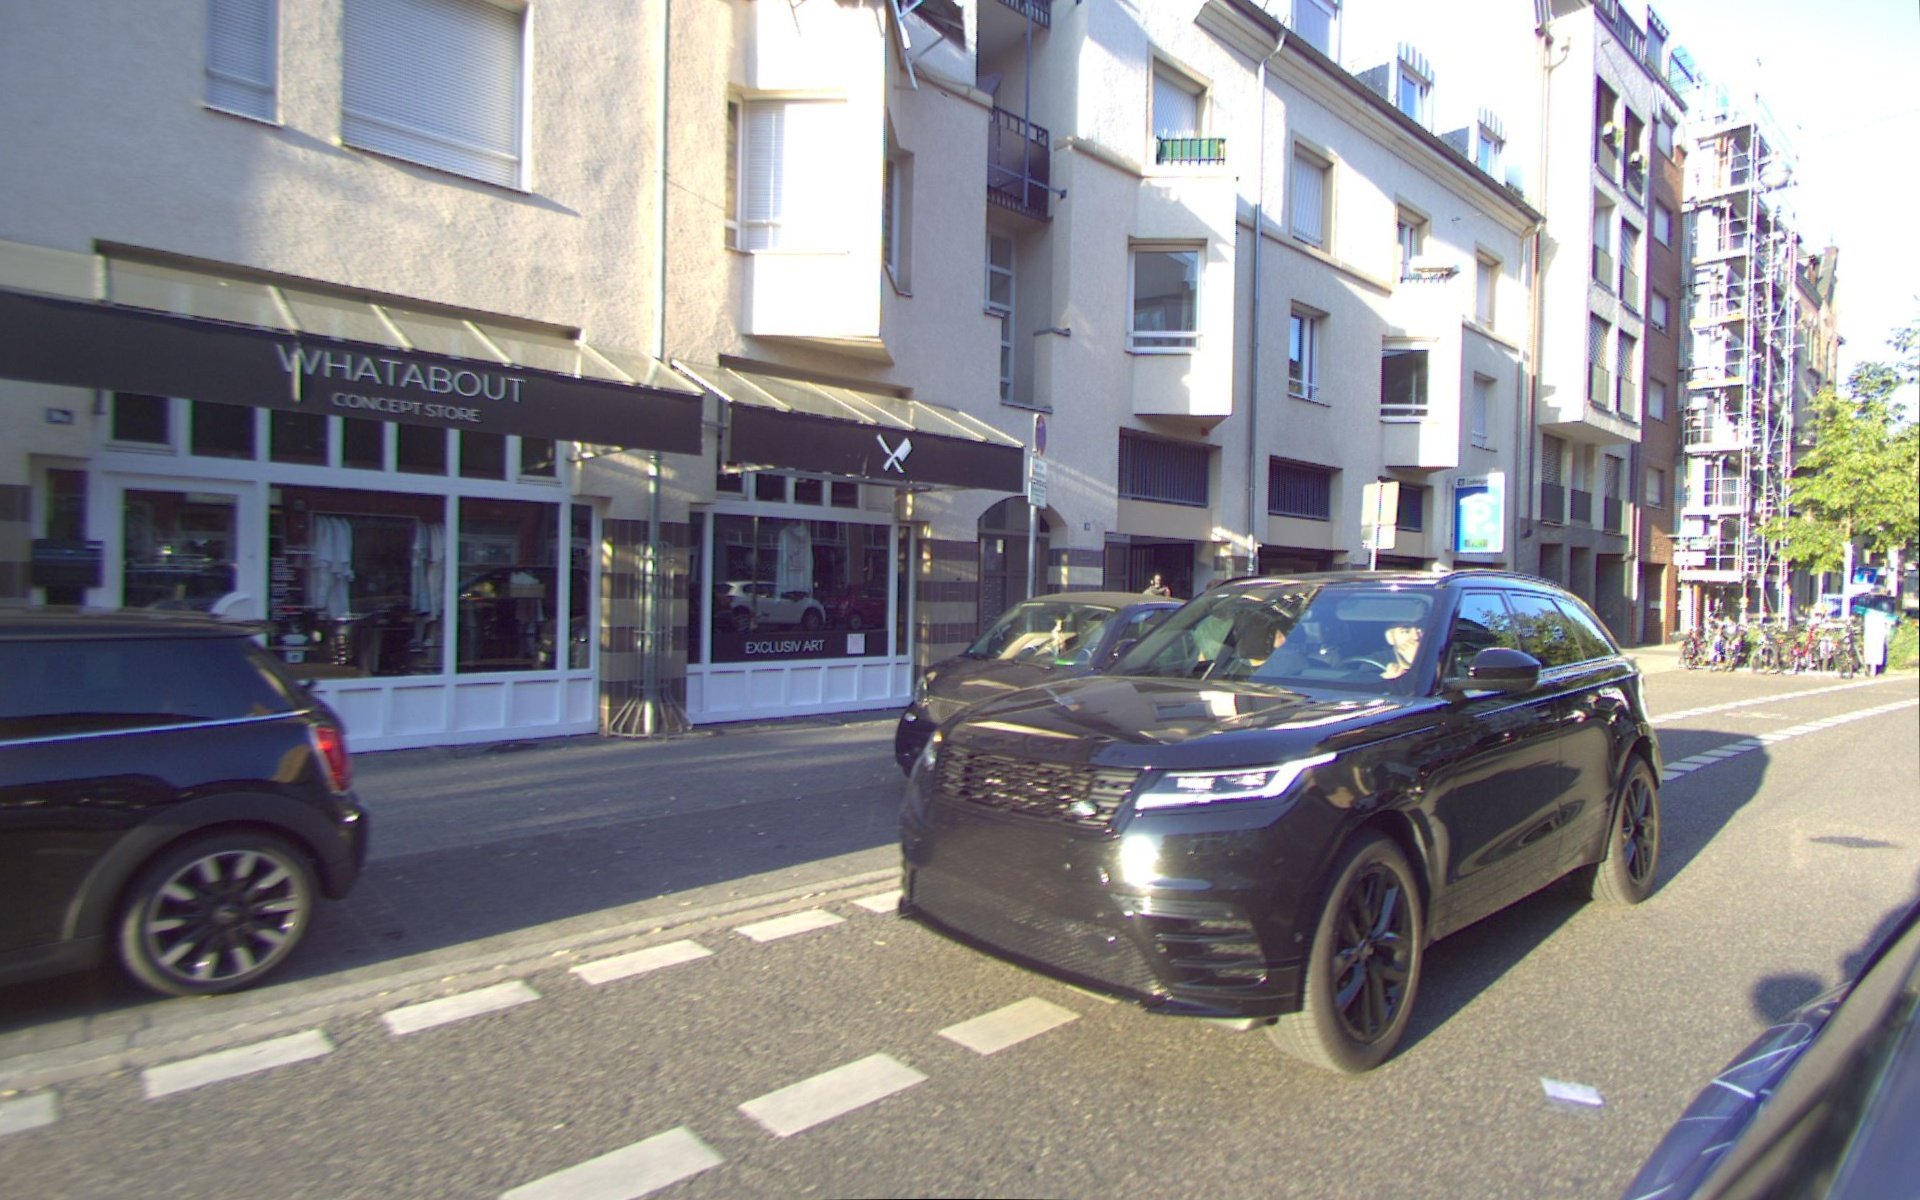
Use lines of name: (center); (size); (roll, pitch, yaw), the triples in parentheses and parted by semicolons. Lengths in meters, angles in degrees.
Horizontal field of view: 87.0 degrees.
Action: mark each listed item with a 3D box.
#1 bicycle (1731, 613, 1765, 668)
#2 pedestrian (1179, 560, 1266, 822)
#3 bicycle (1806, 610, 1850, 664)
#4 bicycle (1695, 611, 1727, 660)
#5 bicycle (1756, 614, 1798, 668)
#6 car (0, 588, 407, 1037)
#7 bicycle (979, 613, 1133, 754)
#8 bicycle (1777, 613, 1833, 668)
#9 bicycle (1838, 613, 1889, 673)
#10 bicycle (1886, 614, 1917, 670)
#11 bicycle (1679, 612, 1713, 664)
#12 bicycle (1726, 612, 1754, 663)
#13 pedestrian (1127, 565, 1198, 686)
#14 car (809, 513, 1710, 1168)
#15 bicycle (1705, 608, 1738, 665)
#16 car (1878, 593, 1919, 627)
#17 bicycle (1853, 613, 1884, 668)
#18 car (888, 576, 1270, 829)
bicycle: (17.162, 0.867, 22.037); (1.498, 1.114, 0.382); (0, 1, -44)
pedestrian: (1.790, 0.579, 6.883); (0.438, 1.685, 0.561); (2, 1, 24)
bicycle: (19.145, 0.805, 22.333); (0.379, 1.114, 1.508); (1, 1, 28)
bicycle: (17.886, 0.827, 24.088); (1.498, 1.114, 0.382); (0, 1, -45)
bicycle: (17.701, 0.865, 21.920); (1.537, 1.114, 0.382); (0, 1, -40)
car: (-4.182, 0.700, 3.532); (3.692, 1.442, 1.636); (0, 2, -42)
bicycle: (0.977, 0.767, 9.959); (1.795, 1.249, 0.397); (0, 2, -44)
bicycle: (17.850, 0.851, 21.374); (1.492, 1.122, 0.373); (1, 1, -29)
bicycle: (18.463, 0.856, 20.673); (1.535, 1.155, 0.364); (0, 1, -33)
bicycle: (20.008, 0.874, 21.504); (1.498, 1.114, 0.382); (0, 1, -44)
bicycle: (16.757, 0.841, 23.028); (1.498, 1.114, 0.382); (-1, 2, -45)
bicycle: (18.057, 0.845, 23.424); (0.381, 1.114, 1.500); (2, 1, 42)
pedestrian: (2.898, 0.348, 14.496); (0.798, 1.667, 0.606); (0, 0, -36)
car: (1.762, 0.620, 4.868); (4.592, 1.676, 1.998); (0, -1, -41)
bicycle: (16.926, 0.801, 22.496); (1.498, 1.204, 0.382); (0, 0, -45)
car: (45.704, 0.542, 46.818); (1.877, 1.530, 4.536); (2, 1, -40)
bicycle: (19.577, 0.859, 21.798); (1.498, 1.114, 0.382); (0, 1, -44)
car: (0.989, 0.636, 7.926); (2.649, 1.573, 1.635); (0, 2, -43)
